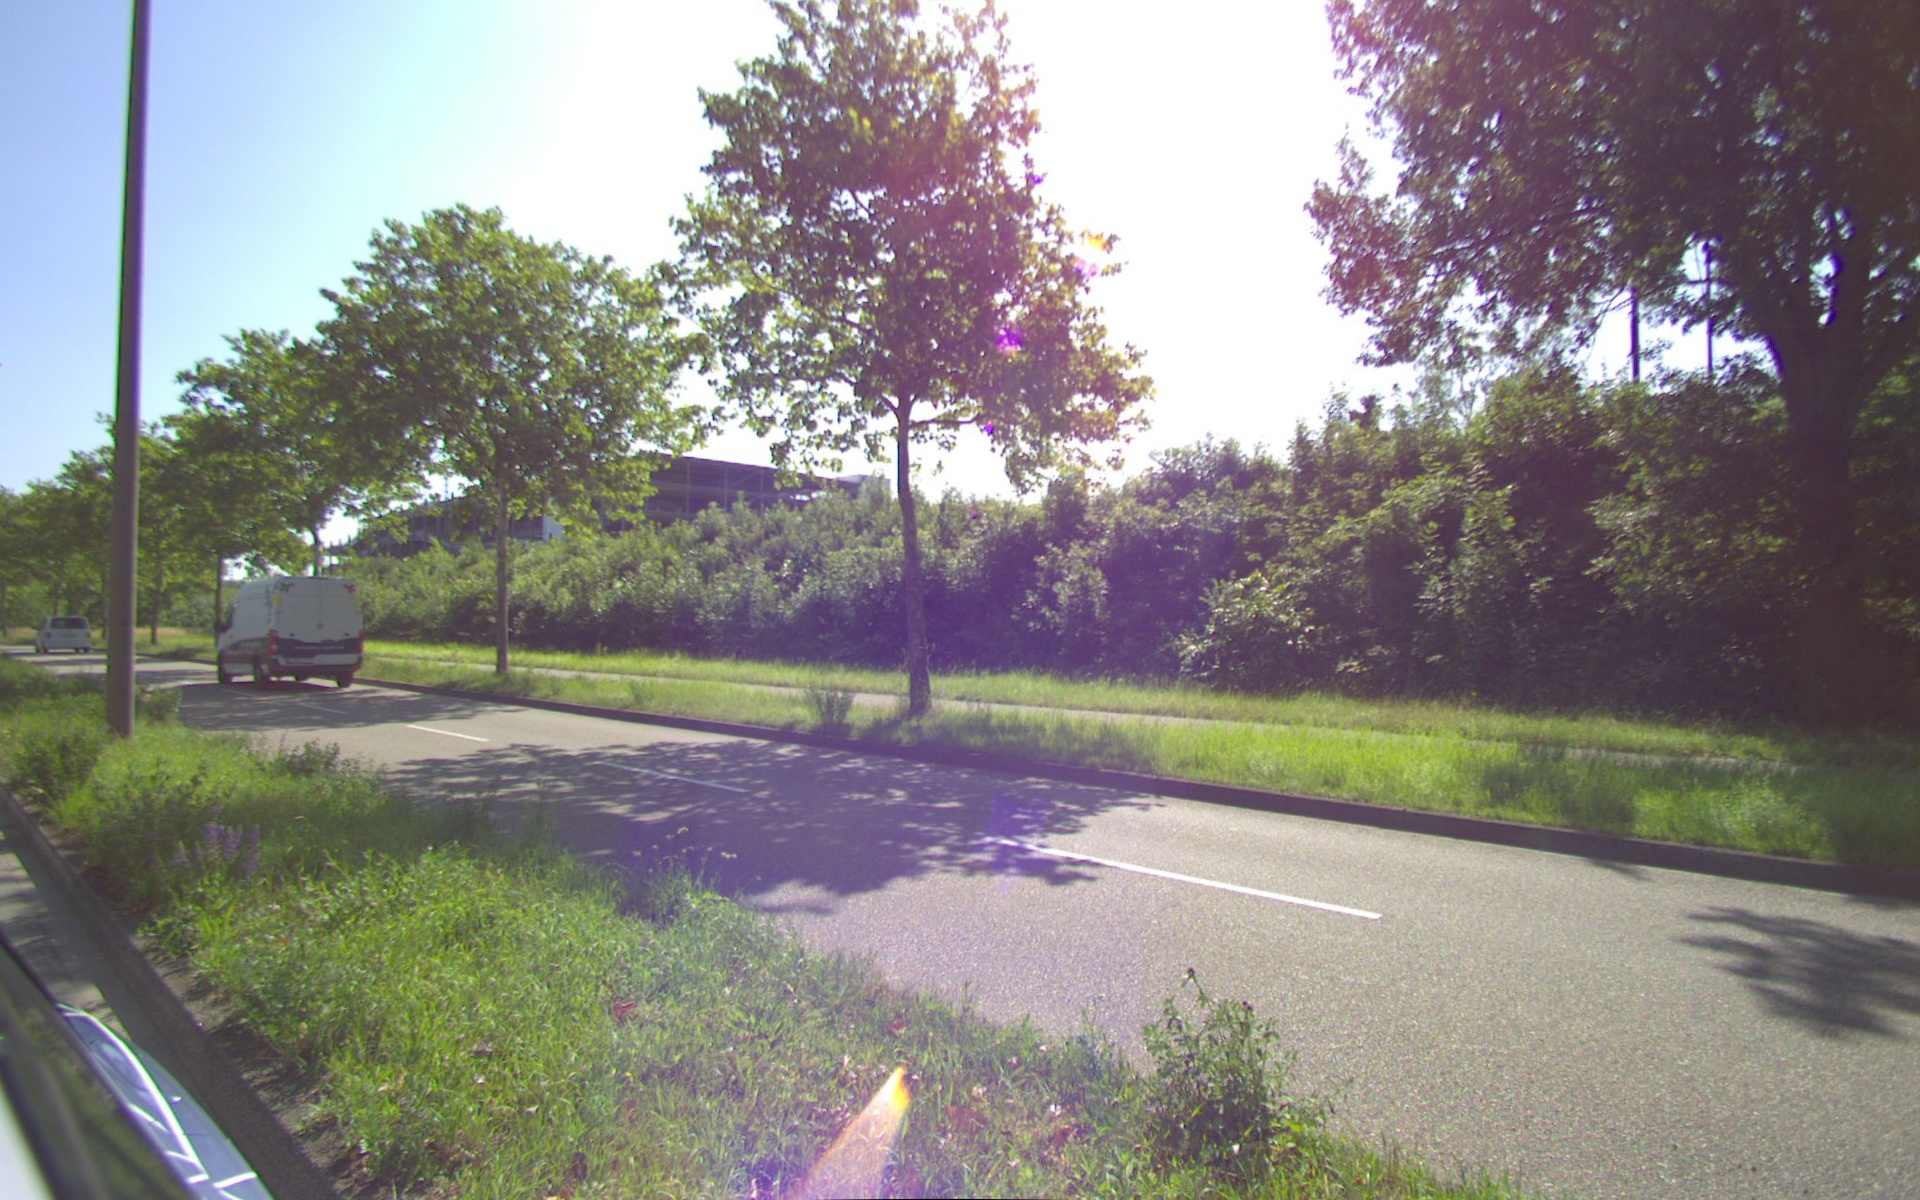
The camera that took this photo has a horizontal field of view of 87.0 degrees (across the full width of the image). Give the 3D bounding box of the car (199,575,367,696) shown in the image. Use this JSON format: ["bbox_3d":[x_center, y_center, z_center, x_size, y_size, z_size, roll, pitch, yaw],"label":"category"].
[{"bbox_3d":[-16.956,0.876,25.194,5.783,2.683,1.973,-1,-3,41],"label":"car"}]

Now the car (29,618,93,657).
[{"bbox_3d":[-46.736,1.967,52.597,4.574,1.912,1.972,-1,-4,43],"label":"car"}]
